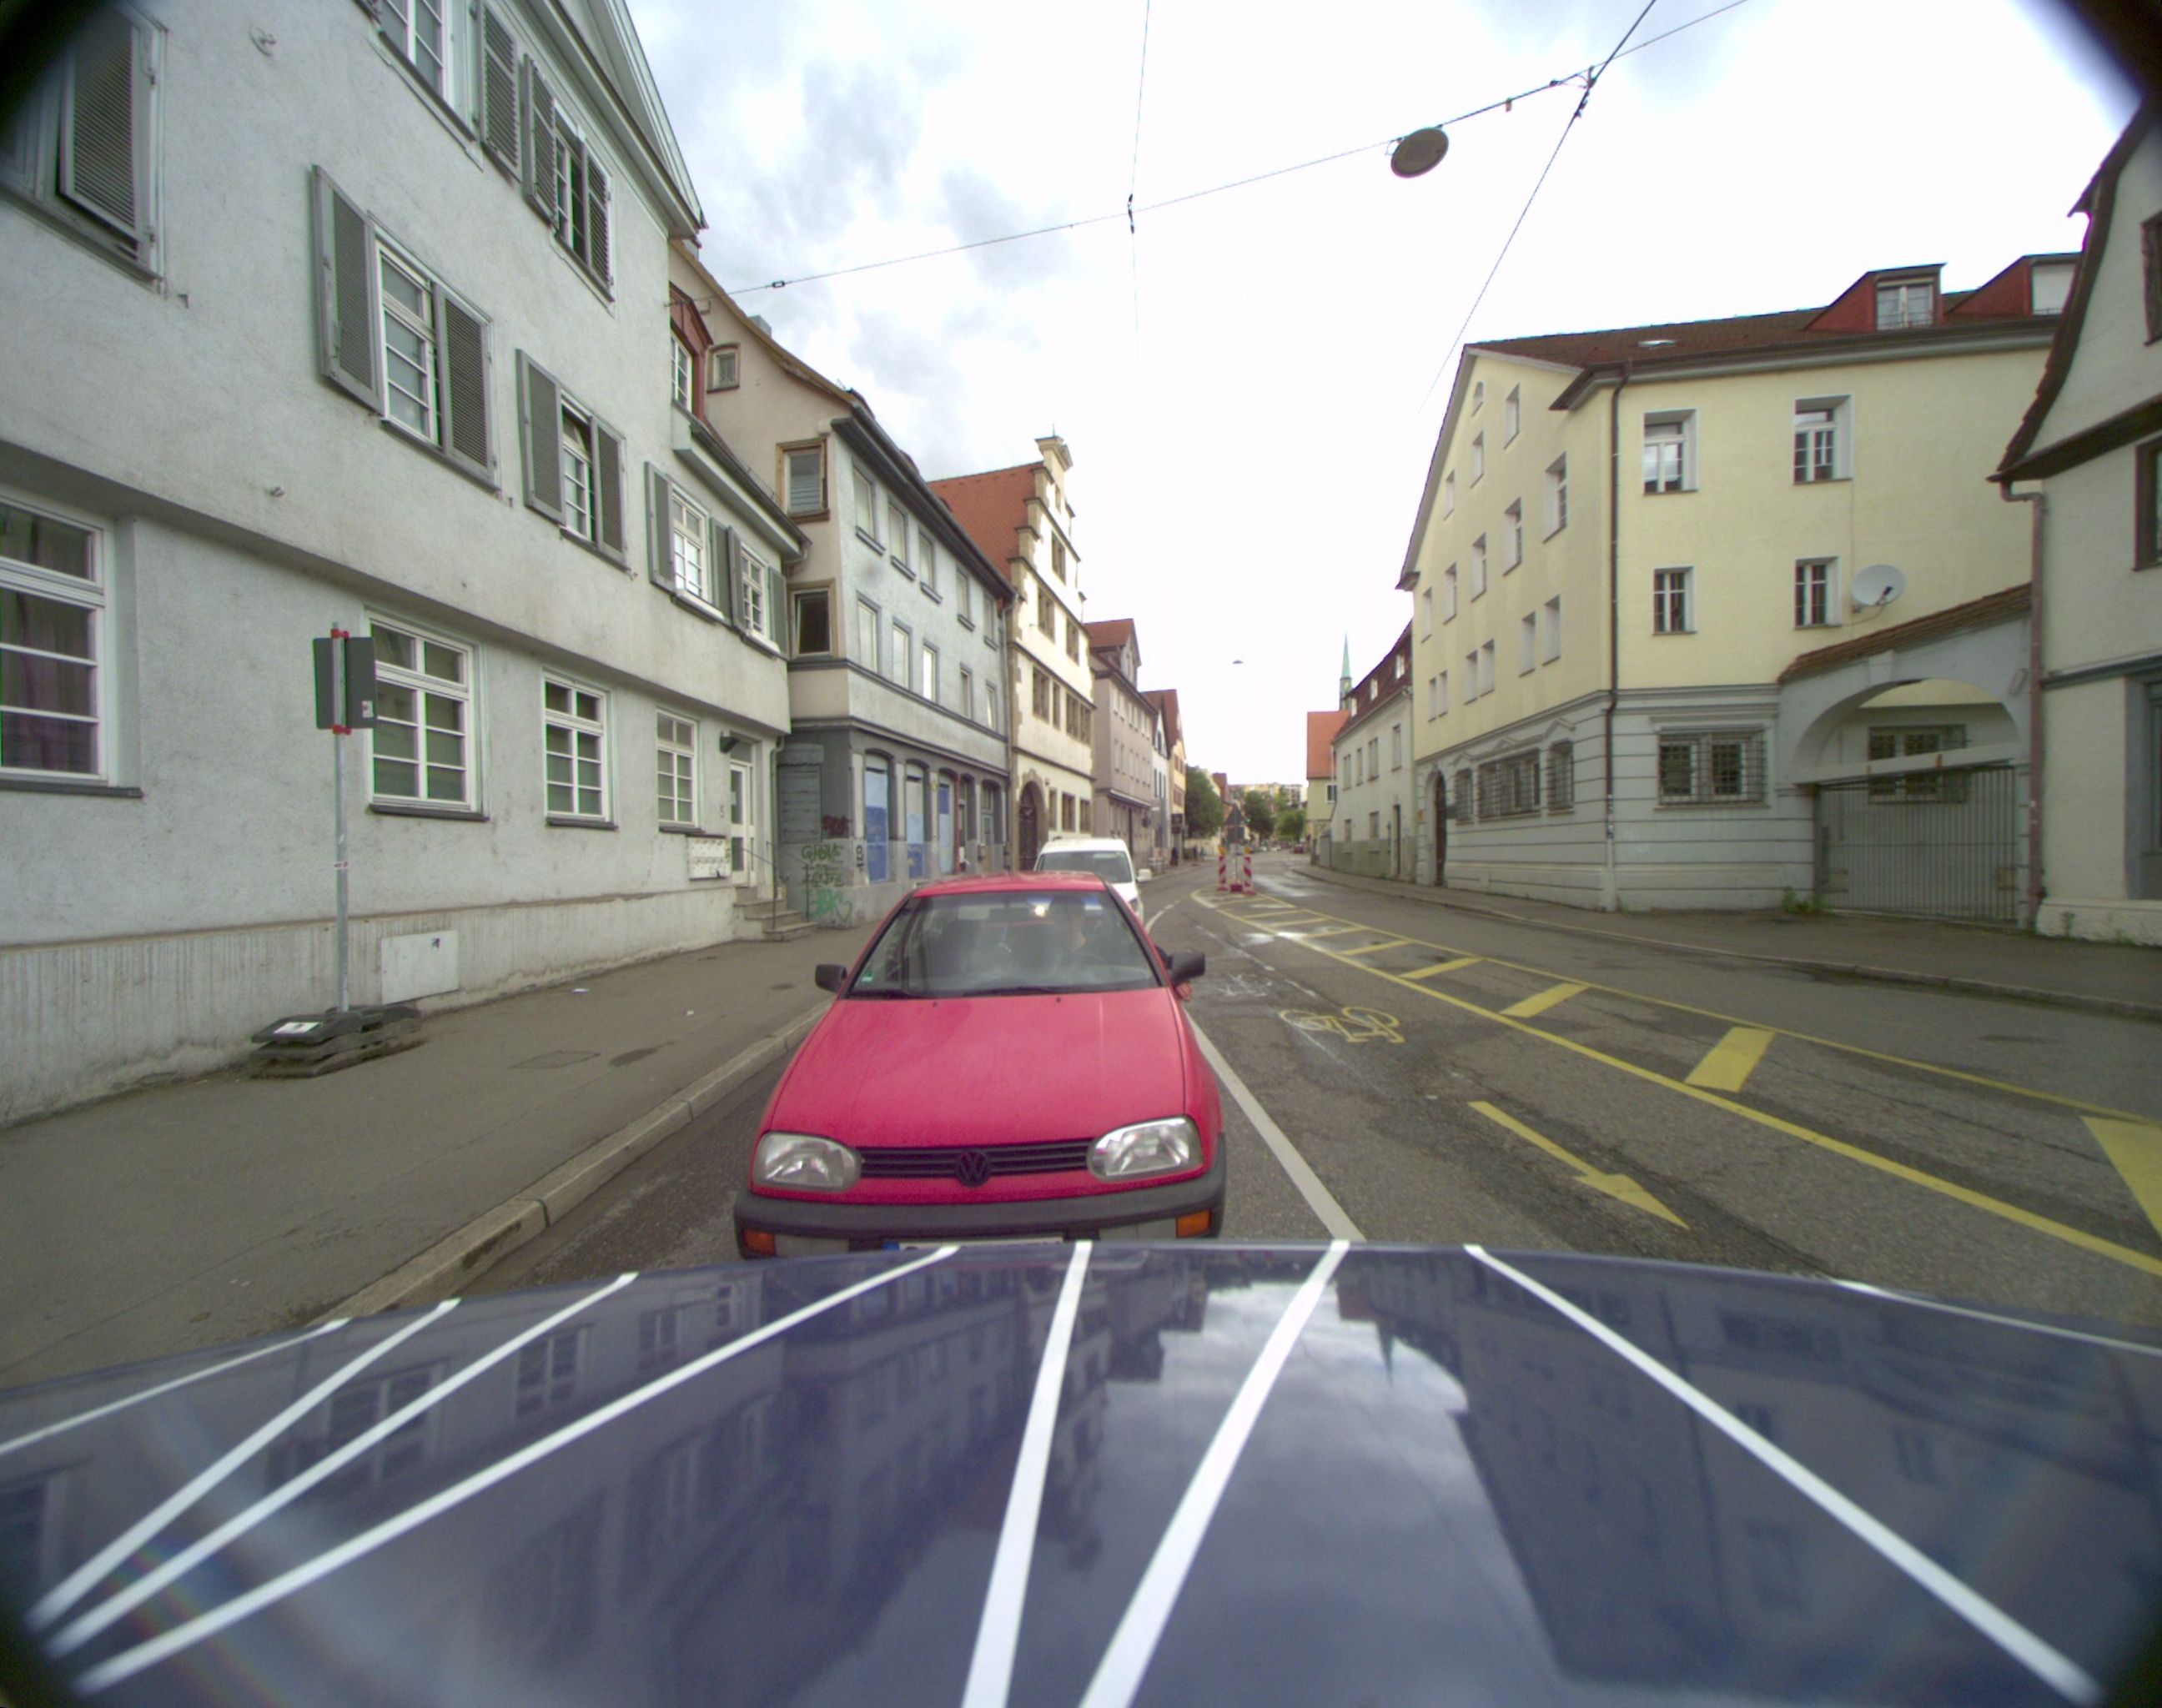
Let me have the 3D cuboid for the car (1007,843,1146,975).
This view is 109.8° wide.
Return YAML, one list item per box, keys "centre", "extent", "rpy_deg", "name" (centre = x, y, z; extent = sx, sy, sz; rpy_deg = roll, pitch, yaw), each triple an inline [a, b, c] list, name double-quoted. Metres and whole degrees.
- centre: [0.025, 0.705, 12.160]
  extent: [1.814, 1.695, 4.256]
  rpy_deg: [-1, 1, 2]
  name: "car"

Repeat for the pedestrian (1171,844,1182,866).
- centre: [6.986, 0.095, 55.455]
  extent: [0.725, 1.604, 0.649]
  rpy_deg: [-1, 0, 12]
  name: "pedestrian"

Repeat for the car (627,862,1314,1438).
- centre: [-0.294, 0.816, 4.032]
  extent: [1.792, 1.417, 3.999]
  rpy_deg: [-2, 1, 0]
  name: "car"

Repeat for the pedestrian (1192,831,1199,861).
- centre: [9.651, -0.671, 63.803]
  extent: [0.495, 2.513, 0.746]
  rpy_deg: [-1, 1, 12]
  name: "pedestrian"
